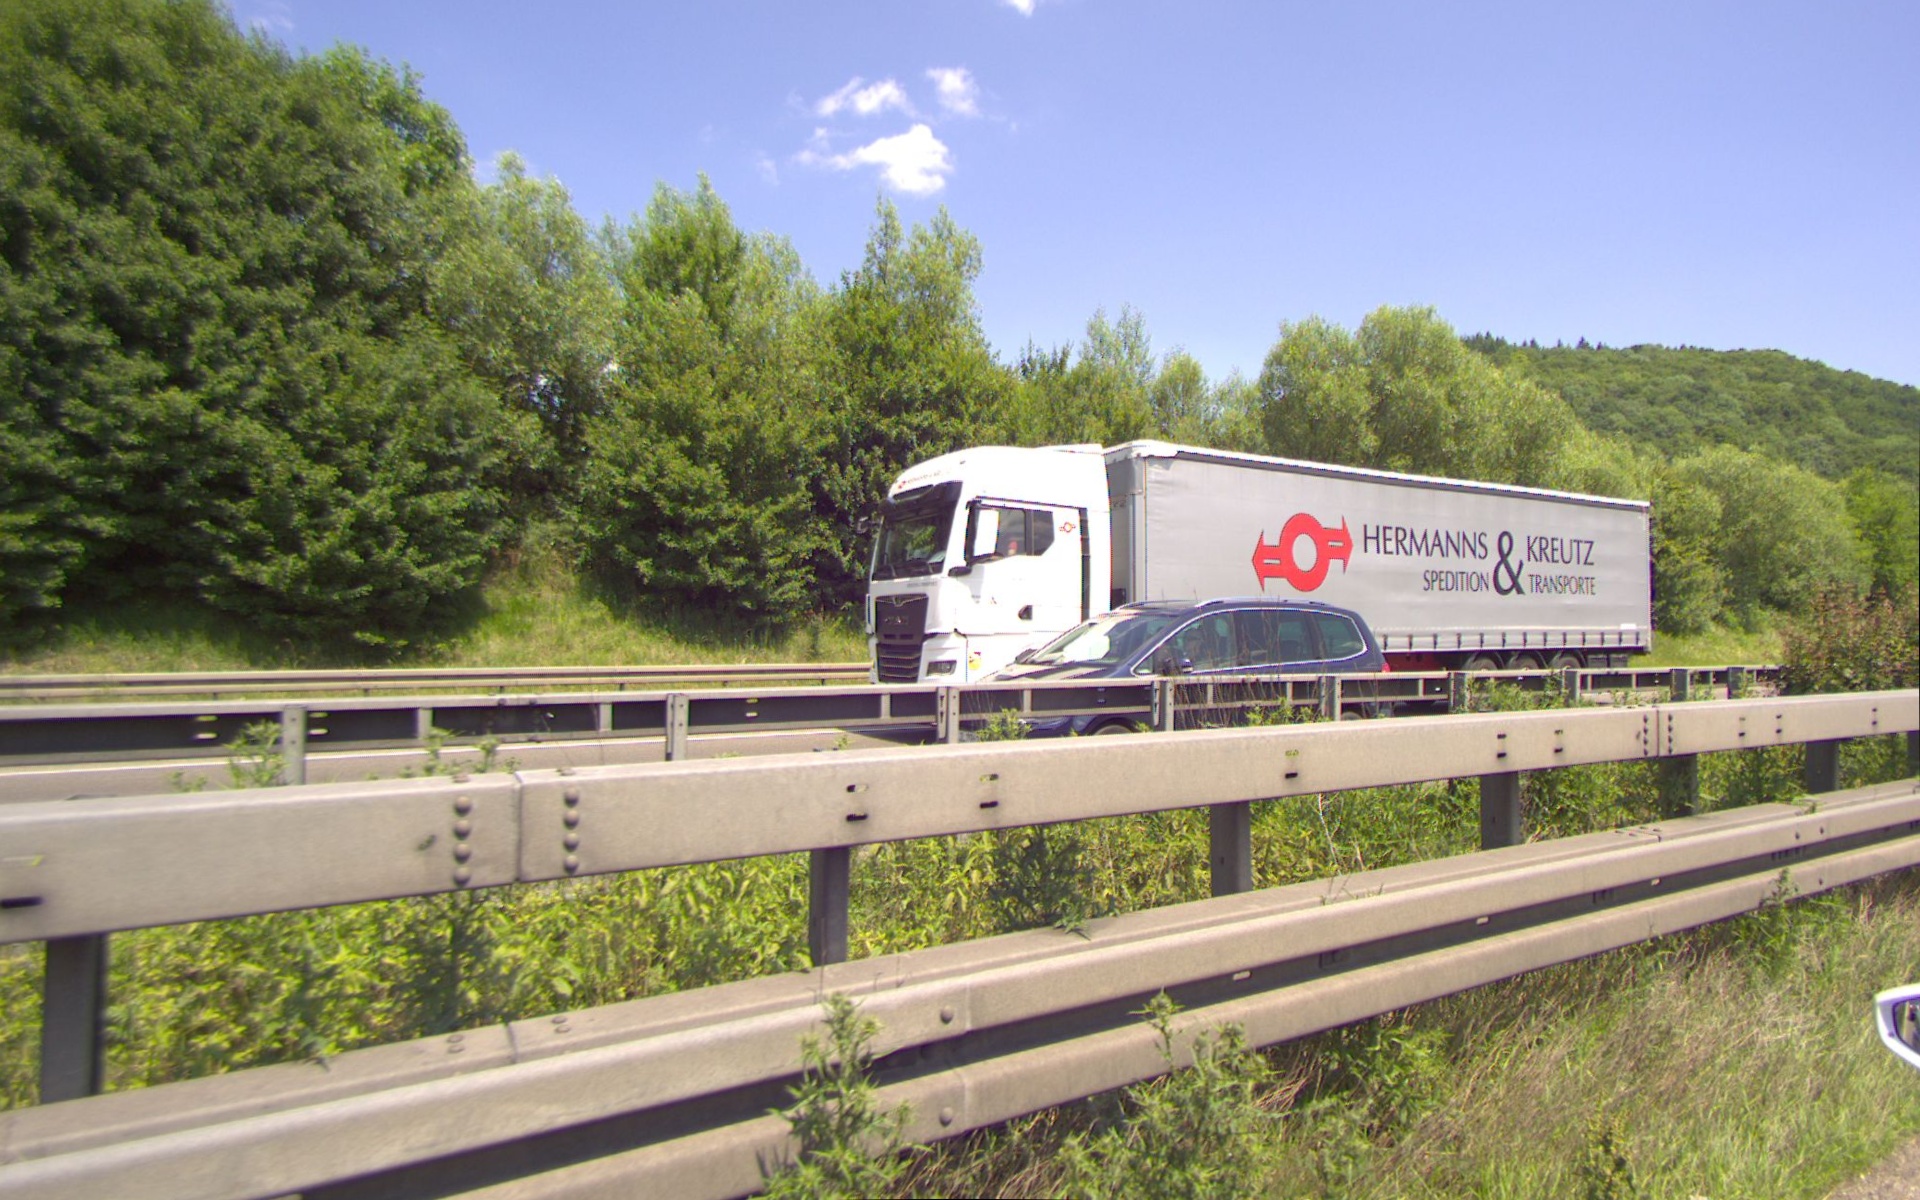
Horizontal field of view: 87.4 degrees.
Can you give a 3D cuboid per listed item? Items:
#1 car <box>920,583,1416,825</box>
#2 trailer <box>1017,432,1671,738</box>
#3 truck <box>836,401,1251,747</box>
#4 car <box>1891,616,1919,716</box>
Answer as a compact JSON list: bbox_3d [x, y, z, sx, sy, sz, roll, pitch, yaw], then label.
[{"bbox_3d":[2.074,0.822,9.571,4.548,1.820,1.912,1,0,-31],"label":"car"},{"bbox_3d":[7.638,-0.069,18.028,13.991,4.053,2.769,1,0,-30],"label":"trailer"},{"bbox_3d":[1.219,-0.231,14.277,5.306,4.054,2.716,1,-2,-30],"label":"truck"},{"bbox_3d":[21.686,1.389,21.163,4.286,2.040,1.983,1,0,-32],"label":"car"}]
